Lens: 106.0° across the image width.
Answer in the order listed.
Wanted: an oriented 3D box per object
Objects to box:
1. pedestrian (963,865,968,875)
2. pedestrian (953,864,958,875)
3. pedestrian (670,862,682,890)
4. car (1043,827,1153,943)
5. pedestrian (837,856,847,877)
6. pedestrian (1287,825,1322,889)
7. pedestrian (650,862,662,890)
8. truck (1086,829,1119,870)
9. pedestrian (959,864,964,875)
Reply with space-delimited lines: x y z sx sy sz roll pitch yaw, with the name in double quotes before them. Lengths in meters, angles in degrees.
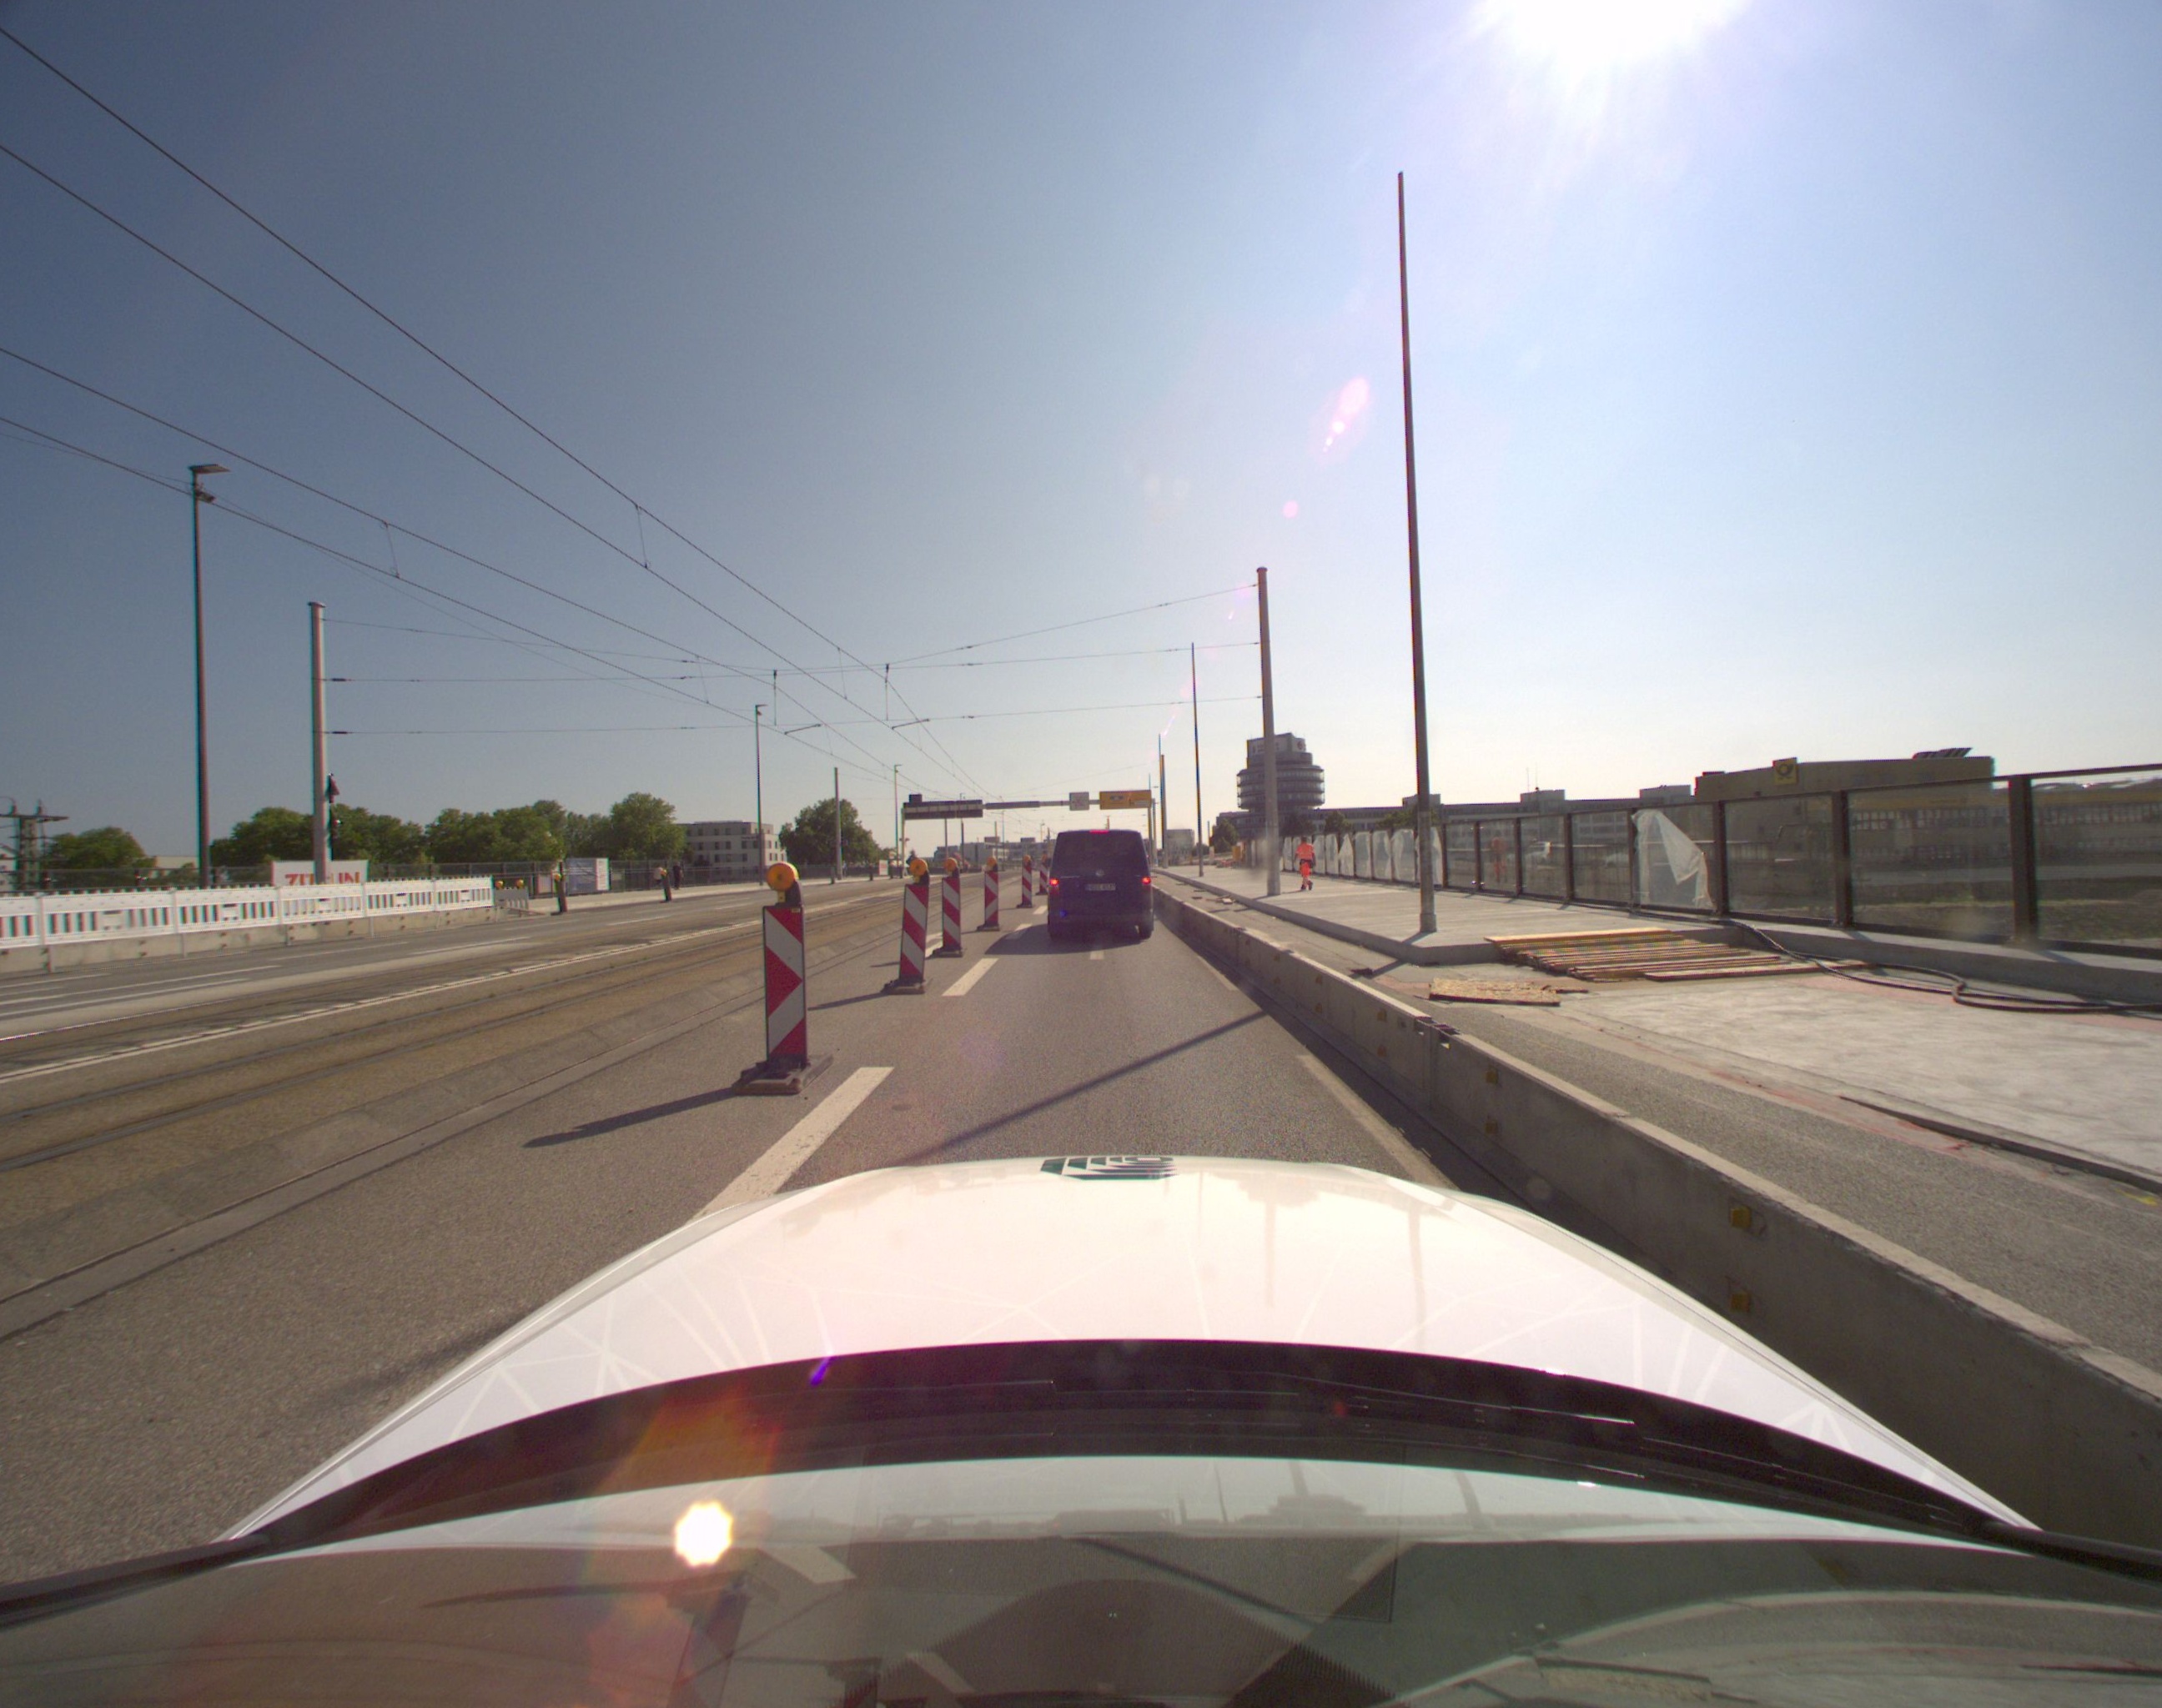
"pedestrian" -19.558 2.666 138.231 0.632 1.598 0.752 -1 0 1
"pedestrian" -20.847 2.593 135.650 0.632 1.752 0.752 -1 0 0
"pedestrian" -24.460 1.323 49.207 0.493 1.694 0.474 -1 -1 1
"car" 0.282 0.505 15.788 1.810 1.905 4.053 -2 0 0
"pedestrian" -21.986 1.140 74.808 0.632 1.893 0.752 -1 0 1
"pedestrian" 7.054 0.088 25.706 0.779 1.935 0.799 -3 -1 1
"pedestrian" -25.725 1.334 49.271 0.493 1.694 0.474 -1 -1 1
"truck" 1.843 -0.446 70.284 2.451 3.134 11.219 -2 1 1
"pedestrian" -19.929 2.591 135.634 0.632 1.774 0.752 -1 0 1
